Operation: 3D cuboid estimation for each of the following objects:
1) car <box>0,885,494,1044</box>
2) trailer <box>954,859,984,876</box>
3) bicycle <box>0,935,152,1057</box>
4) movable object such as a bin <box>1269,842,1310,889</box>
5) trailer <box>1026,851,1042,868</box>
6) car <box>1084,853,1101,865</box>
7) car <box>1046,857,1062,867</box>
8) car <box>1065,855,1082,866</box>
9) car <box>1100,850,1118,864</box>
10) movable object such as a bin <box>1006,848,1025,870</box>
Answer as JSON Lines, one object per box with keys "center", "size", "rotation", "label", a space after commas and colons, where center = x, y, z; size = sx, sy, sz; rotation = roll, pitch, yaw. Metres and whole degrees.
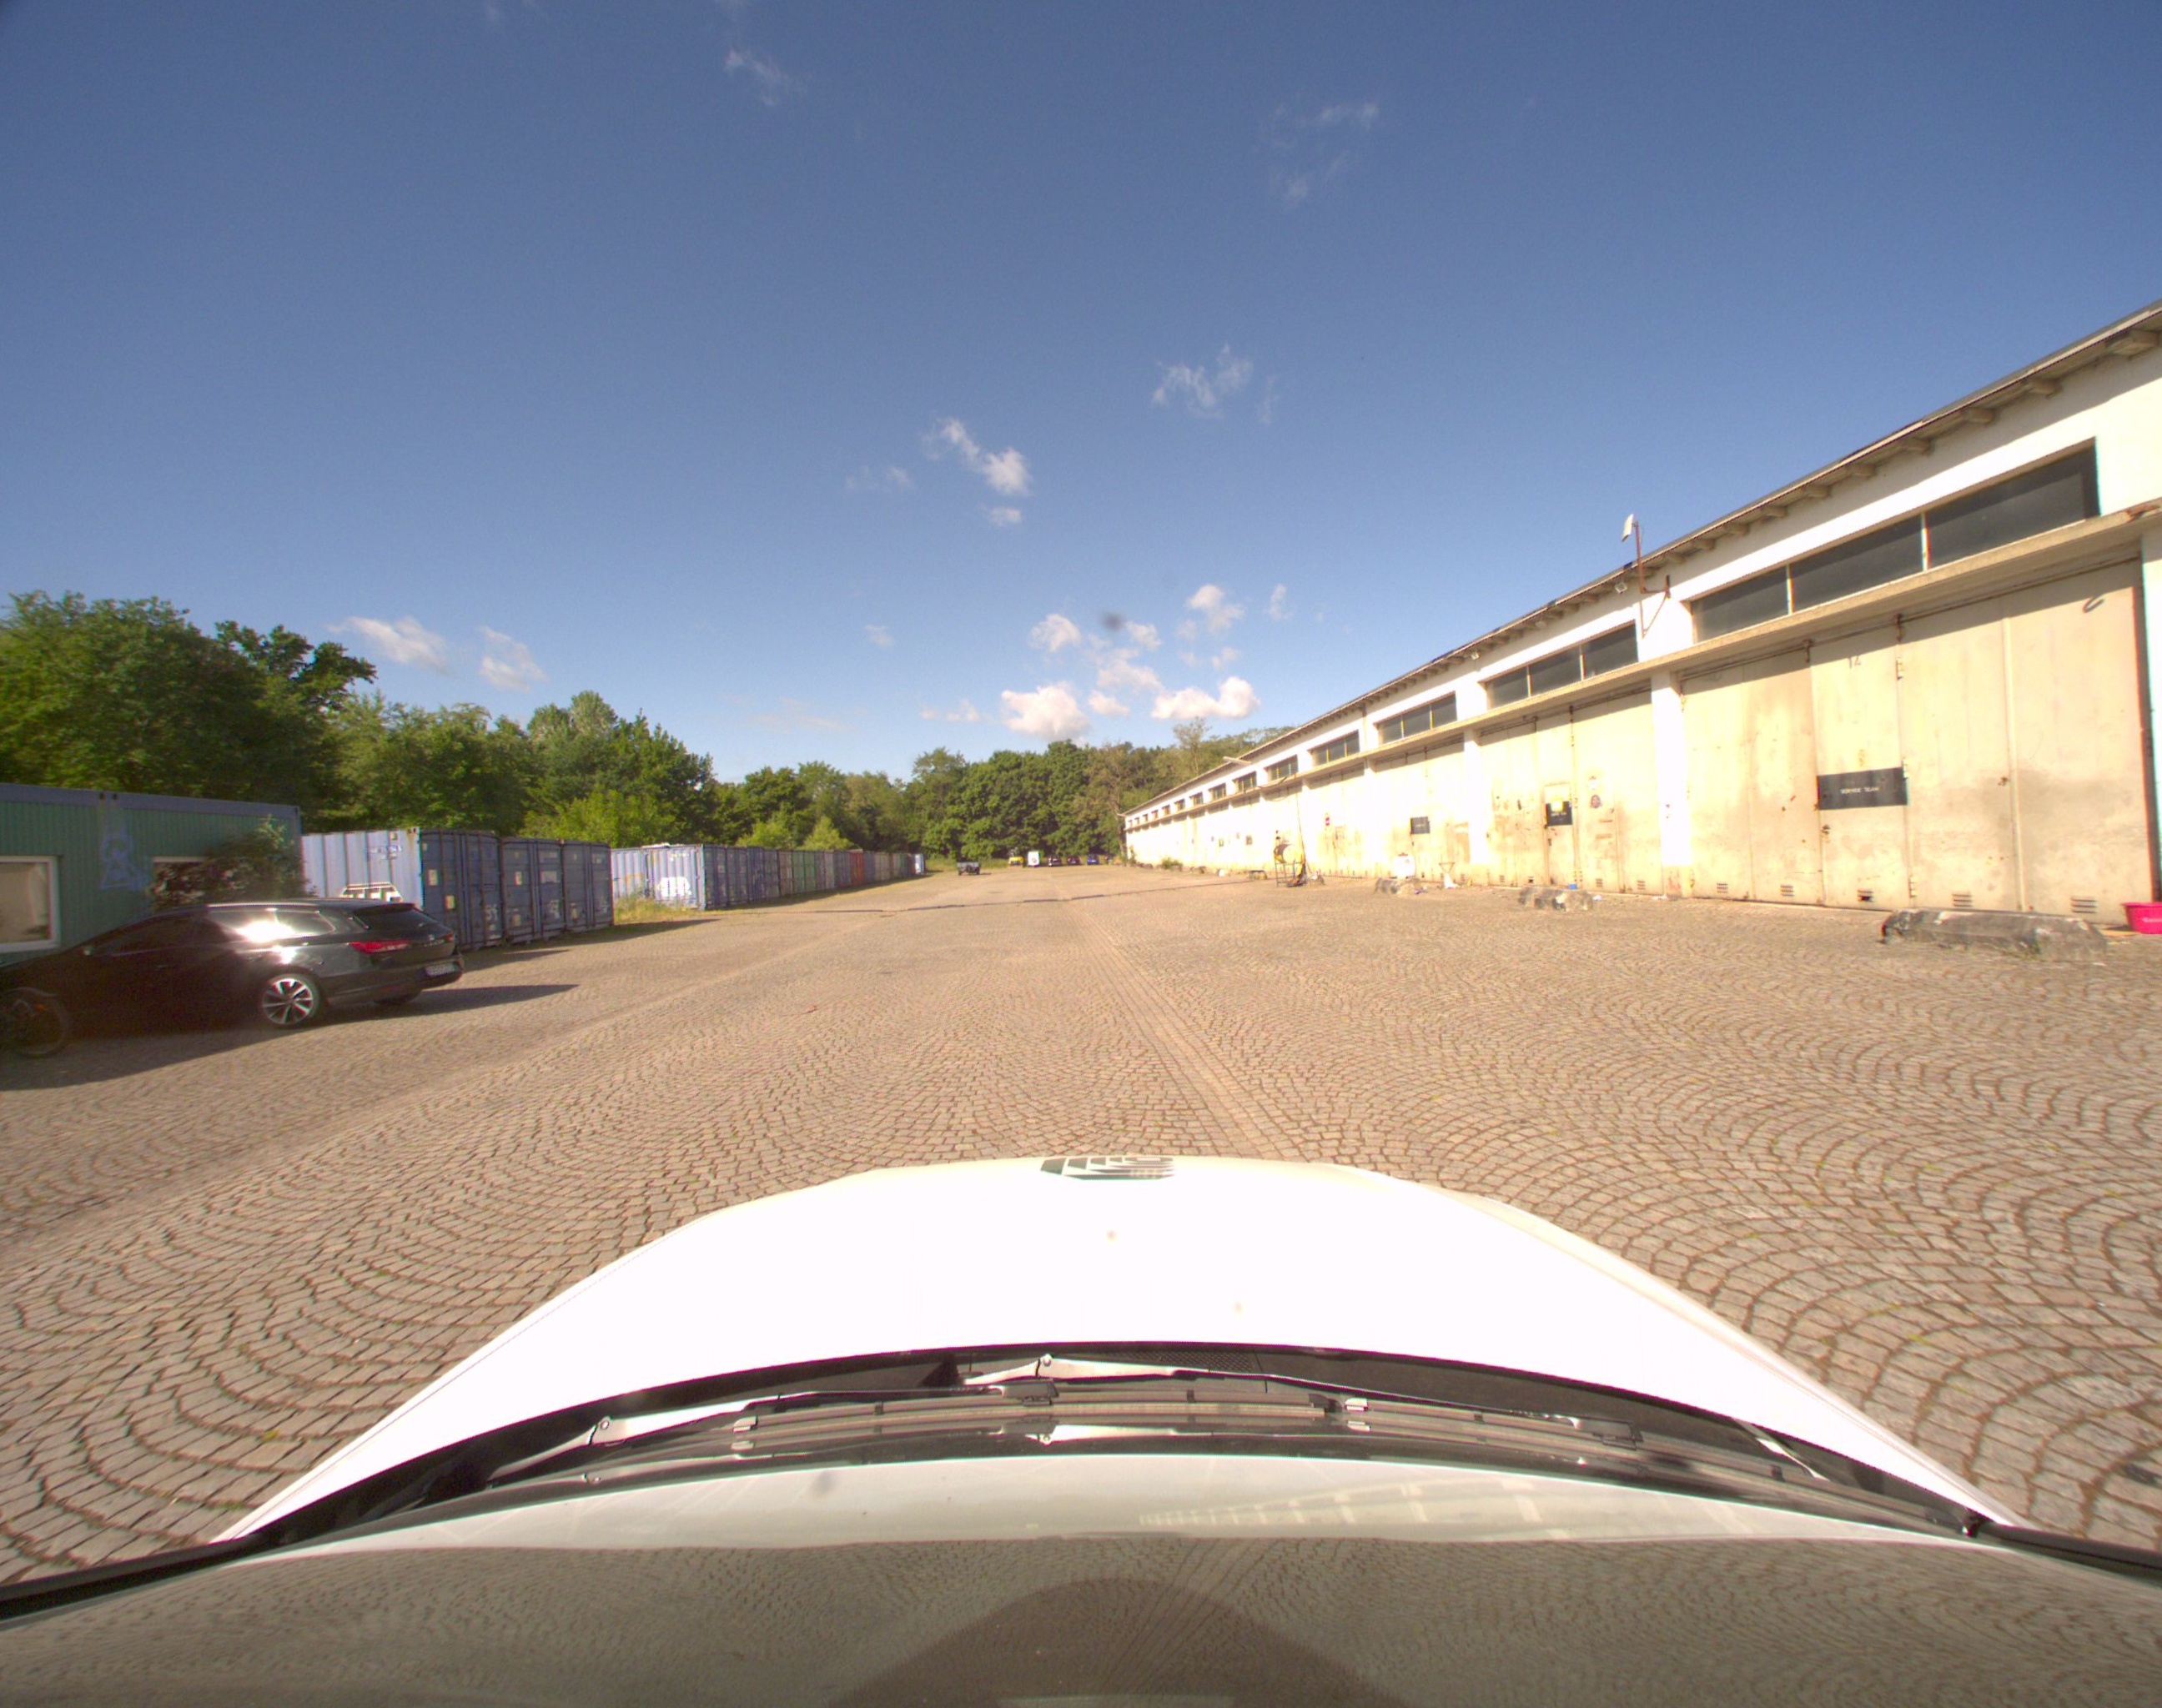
{"center": [-10.049, 1.222, 9.763], "size": [4.411, 1.464, 1.995], "rotation": [-2, 0, -7], "label": "car"}
{"center": [-12.319, 1.499, 89.817], "size": [2.786, 1.646, 5.611], "rotation": [-4, 0, -4], "label": "trailer"}
{"center": [-10.811, 1.430, 8.059], "size": [1.873, 1.027, 1.036], "rotation": [-3, 0, -6], "label": "bicycle"}
{"center": [6.442, 0.348, 25.226], "size": [0.873, 1.401, 1.100], "rotation": [-3, 0, -5], "label": "movable object such as a bin"}
{"center": [-6.309, 0.724, 108.831], "size": [1.990, 2.162, 4.425], "rotation": [-3, 0, -4], "label": "trailer"}
{"center": [1.508, 0.670, 108.519], "size": [1.990, 1.466, 3.995], "rotation": [-4, 0, -4], "label": "car"}
{"center": [-3.556, 1.035, 107.790], "size": [1.990, 1.258, 3.995], "rotation": [-4, 0, -4], "label": "car"}
{"center": [-1.066, 0.863, 108.344], "size": [1.990, 1.424, 3.995], "rotation": [-4, 0, -4], "label": "car"}
{"center": [3.777, 0.417, 109.929], "size": [1.990, 1.772, 3.995], "rotation": [-4, 0, -4], "label": "car"}
{"center": [-8.813, 0.660, 109.411], "size": [2.229, 2.657, 3.992], "rotation": [-3, 0, -6], "label": "movable object such as a bin"}
